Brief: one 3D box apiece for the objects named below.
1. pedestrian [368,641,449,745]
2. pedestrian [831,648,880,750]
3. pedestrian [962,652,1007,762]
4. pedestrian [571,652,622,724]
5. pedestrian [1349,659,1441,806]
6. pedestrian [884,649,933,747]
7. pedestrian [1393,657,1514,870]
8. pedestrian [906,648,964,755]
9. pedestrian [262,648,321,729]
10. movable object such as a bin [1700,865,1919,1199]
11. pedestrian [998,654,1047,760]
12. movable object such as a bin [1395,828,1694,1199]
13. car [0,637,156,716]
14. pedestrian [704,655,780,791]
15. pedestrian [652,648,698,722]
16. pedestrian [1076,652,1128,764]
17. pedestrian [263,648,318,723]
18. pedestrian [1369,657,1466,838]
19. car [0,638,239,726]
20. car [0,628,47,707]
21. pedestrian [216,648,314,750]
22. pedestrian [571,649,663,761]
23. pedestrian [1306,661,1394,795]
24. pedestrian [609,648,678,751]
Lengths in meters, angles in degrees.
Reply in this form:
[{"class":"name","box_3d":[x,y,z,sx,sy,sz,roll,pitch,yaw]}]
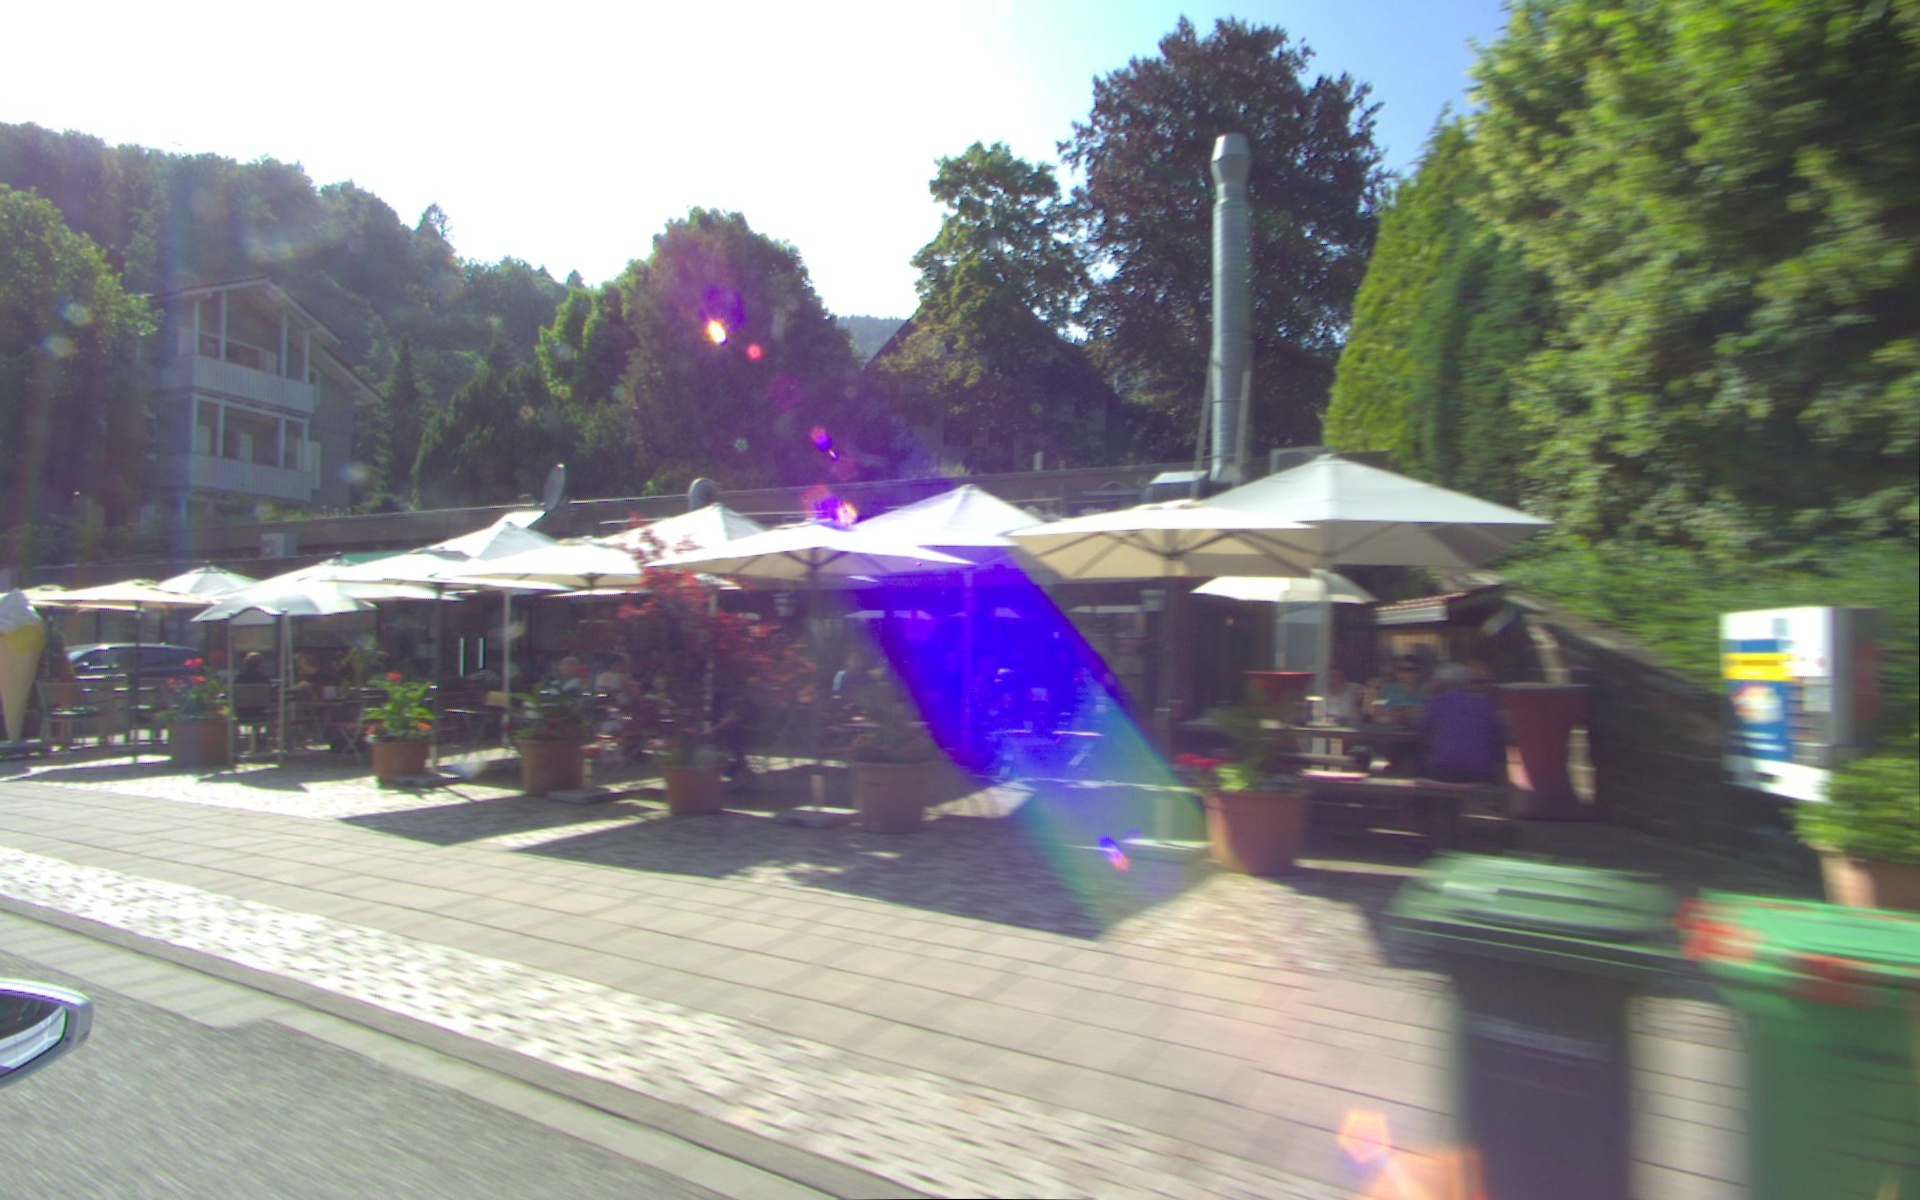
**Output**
[{"class":"pedestrian","box_3d":[-7.702,1.283,14.017,0.797,1.399,0.700,0,-1,-9]},{"class":"pedestrian","box_3d":[-1.425,1.321,13.605,0.570,1.321,0.637,0,0,-15]},{"class":"pedestrian","box_3d":[0.300,1.288,12.206,0.432,1.282,0.469,0,0,18]},{"class":"pedestrian","box_3d":[-6.513,1.562,17.936,0.679,1.224,0.695,1,-1,-37]},{"class":"pedestrian","box_3d":[3.943,1.182,9.100,0.500,1.254,0.594,0,0,-19]},{"class":"pedestrian","box_3d":[-0.722,1.338,13.879,0.570,1.299,0.637,0,0,-15]},{"class":"pedestrian","box_3d":[3.345,1.061,6.858,0.634,1.301,0.949,0,-1,20]},{"class":"pedestrian","box_3d":[-0.320,1.282,12.826,0.598,1.321,0.530,0,0,19]},{"class":"pedestrian","box_3d":[-11.000,1.436,16.481,0.693,1.277,0.805,1,-1,-42]},{"class":"movable object such as a bin","box_3d":[1.728,1.055,1.935,0.435,0.924,0.513,0,-1,32]},{"class":"pedestrian","box_3d":[0.765,1.301,12.330,0.464,1.247,0.389,0,0,-33]},{"class":"movable object such as a bin","box_3d":[1.282,1.051,2.222,0.512,0.938,0.547,0,-1,32]},{"class":"car","box_3d":[-17.956,1.415,18.824,1.719,1.433,4.114,-1,-2,22]},{"class":"pedestrian","box_3d":[-2.101,1.177,9.683,0.582,1.261,0.473,-1,0,6]},{"class":"pedestrian","box_3d":[-5.222,1.539,18.354,0.678,1.316,0.634,1,-1,-29]},{"class":"pedestrian","box_3d":[1.689,1.269,11.909,0.501,1.284,0.407,0,0,32]},{"class":"pedestrian","box_3d":[-11.876,1.493,17.760,0.693,1.277,0.805,1,-1,-42]},{"class":"pedestrian","box_3d":[3.531,1.104,7.772,0.634,1.301,0.648,0,0,20]},{"class":"car","box_3d":[-15.506,1.376,17.685,1.680,1.396,4.267,-1,-2,22]},{"class":"car","box_3d":[-20.610,1.337,19.446,1.719,1.600,3.880,-1,-2,22]},{"class":"pedestrian","box_3d":[-9.136,1.281,13.186,0.687,1.277,0.812,0,-1,13]},{"class":"pedestrian","box_3d":[-4.124,1.233,12.050,0.692,1.277,0.806,-1,-1,40]},{"class":"pedestrian","box_3d":[3.890,1.248,9.996,0.691,1.247,0.504,0,0,41]},{"class":"pedestrian","box_3d":[-4.100,1.265,13.013,0.797,1.277,0.700,0,-1,-14]}]
